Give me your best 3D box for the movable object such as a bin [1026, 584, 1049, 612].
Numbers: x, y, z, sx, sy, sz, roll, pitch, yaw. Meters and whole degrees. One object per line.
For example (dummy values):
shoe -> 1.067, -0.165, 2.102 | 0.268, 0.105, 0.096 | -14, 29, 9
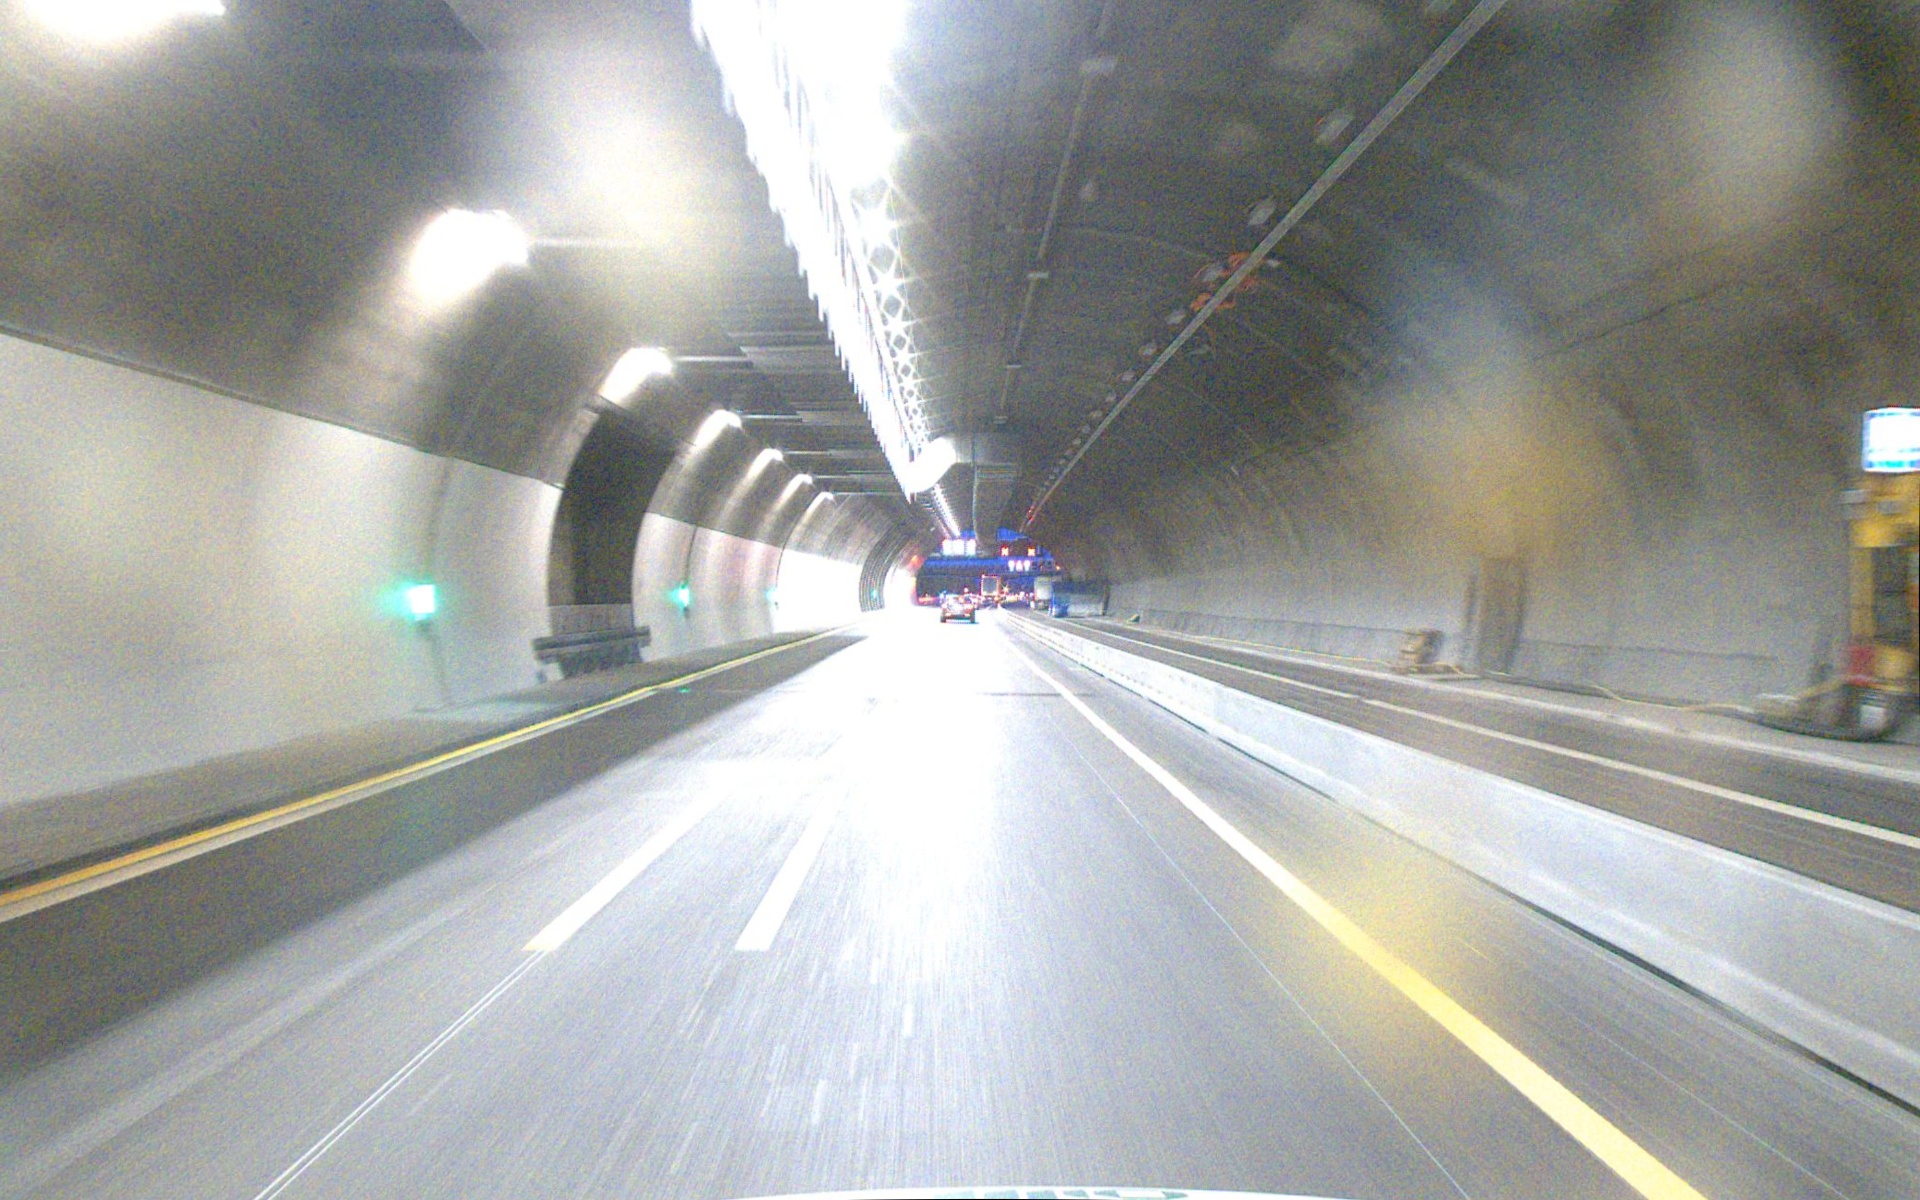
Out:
movable object such as a bin -> 8.035, -0.206, 172.589 | 2.192, 2.843, 7.233 | 0, 0, 1

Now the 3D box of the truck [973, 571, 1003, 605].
truck -> 4.204, -1.786, 252.581 | 4.452, 5.074, 9.599 | 0, 0, 1

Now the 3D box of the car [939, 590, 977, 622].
car -> -0.120, 0.291, 87.287 | 1.850, 1.635, 3.998 | 0, 0, -2

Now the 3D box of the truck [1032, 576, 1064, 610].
truck -> 8.687, -0.668, 164.041 | 2.832, 3.329, 8.402 | 0, 0, 1

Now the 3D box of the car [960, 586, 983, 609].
car -> 1.032, -0.266, 152.159 | 1.953, 2.049, 3.999 | 1, 0, -1
